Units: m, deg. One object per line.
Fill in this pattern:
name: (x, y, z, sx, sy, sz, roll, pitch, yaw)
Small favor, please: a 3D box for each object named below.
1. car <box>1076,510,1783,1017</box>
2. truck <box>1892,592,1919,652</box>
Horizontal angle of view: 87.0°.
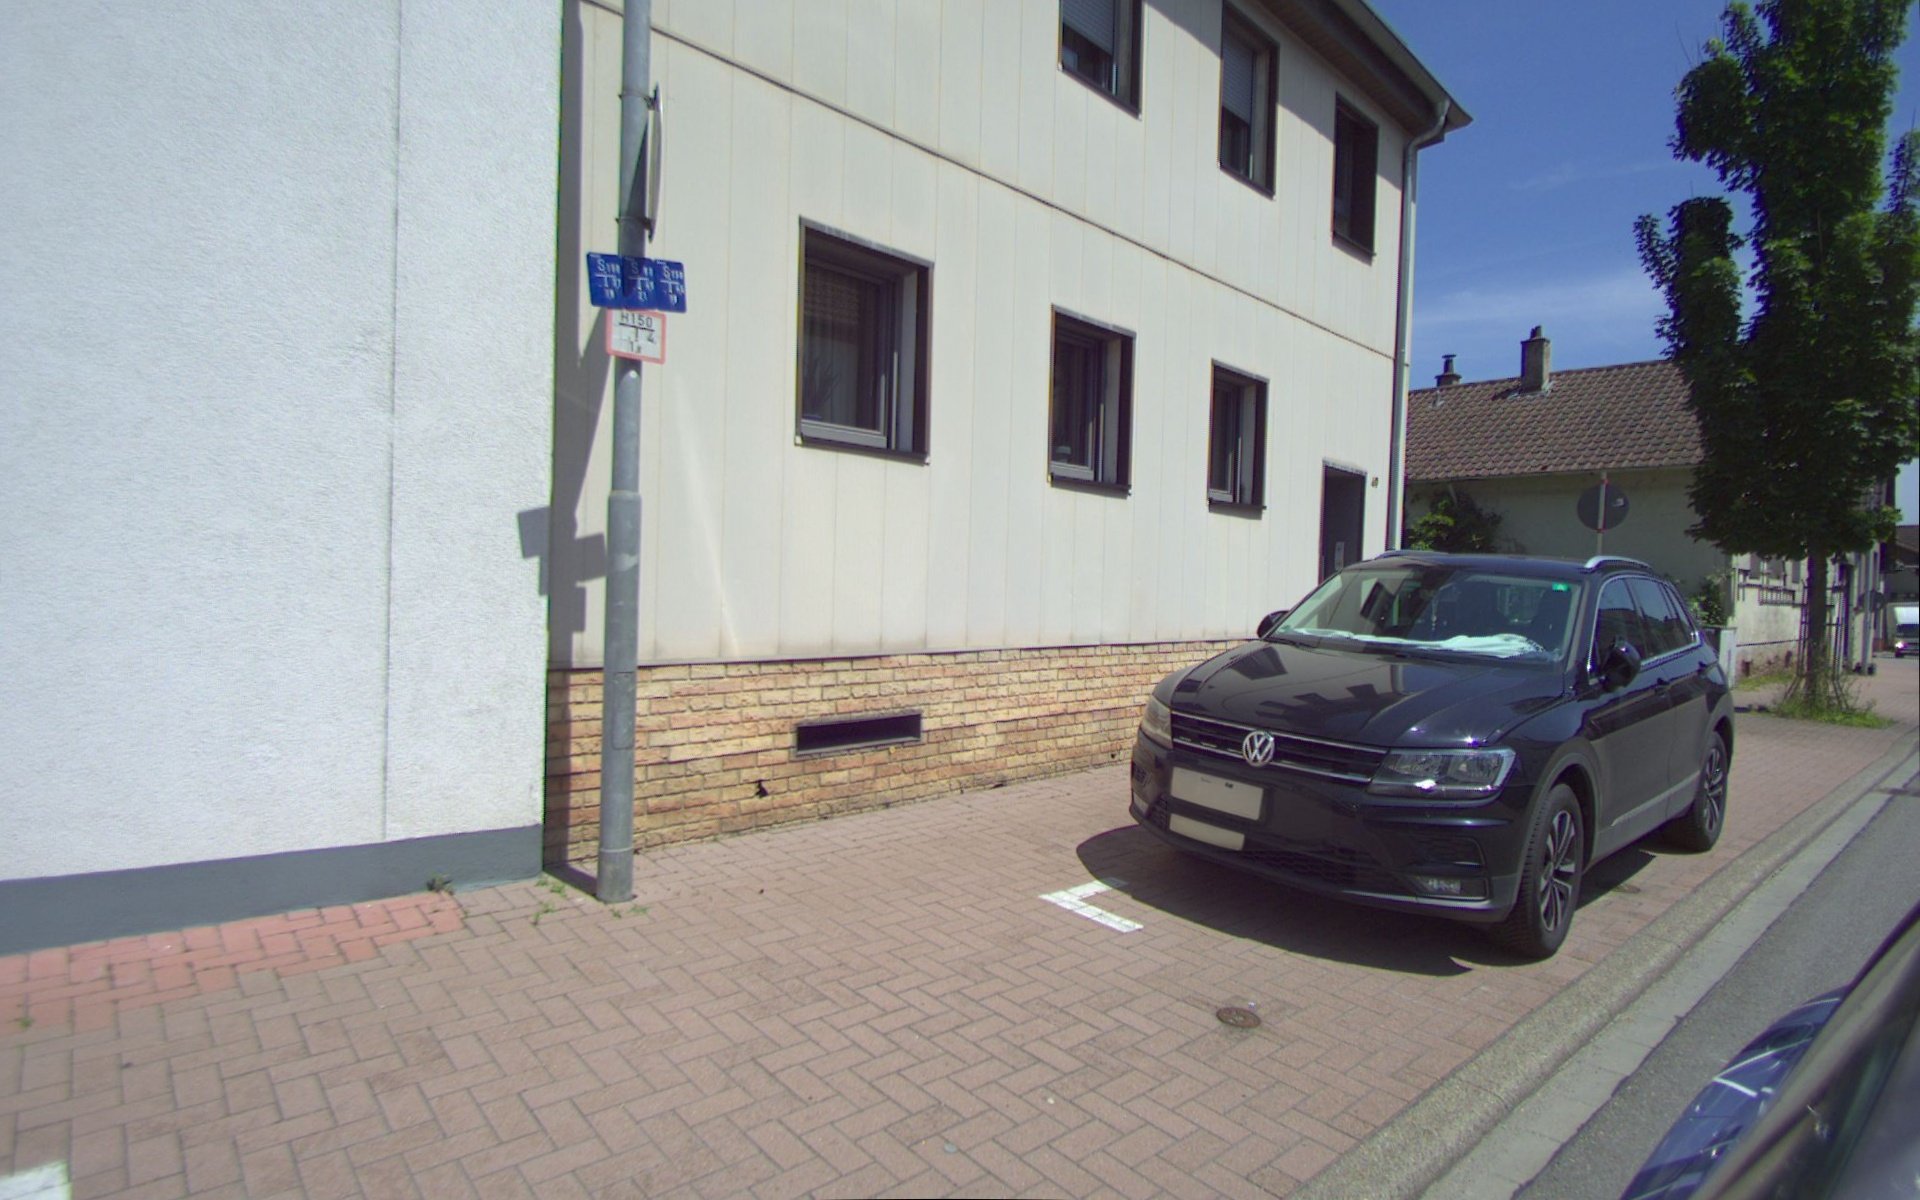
car: (2.810, 0.500, 5.440, 4.470, 1.634, 1.805, 1, 3, -43)
truck: (60.565, 1.379, 63.279, 8.183, 3.555, 2.863, 0, 2, -45)
